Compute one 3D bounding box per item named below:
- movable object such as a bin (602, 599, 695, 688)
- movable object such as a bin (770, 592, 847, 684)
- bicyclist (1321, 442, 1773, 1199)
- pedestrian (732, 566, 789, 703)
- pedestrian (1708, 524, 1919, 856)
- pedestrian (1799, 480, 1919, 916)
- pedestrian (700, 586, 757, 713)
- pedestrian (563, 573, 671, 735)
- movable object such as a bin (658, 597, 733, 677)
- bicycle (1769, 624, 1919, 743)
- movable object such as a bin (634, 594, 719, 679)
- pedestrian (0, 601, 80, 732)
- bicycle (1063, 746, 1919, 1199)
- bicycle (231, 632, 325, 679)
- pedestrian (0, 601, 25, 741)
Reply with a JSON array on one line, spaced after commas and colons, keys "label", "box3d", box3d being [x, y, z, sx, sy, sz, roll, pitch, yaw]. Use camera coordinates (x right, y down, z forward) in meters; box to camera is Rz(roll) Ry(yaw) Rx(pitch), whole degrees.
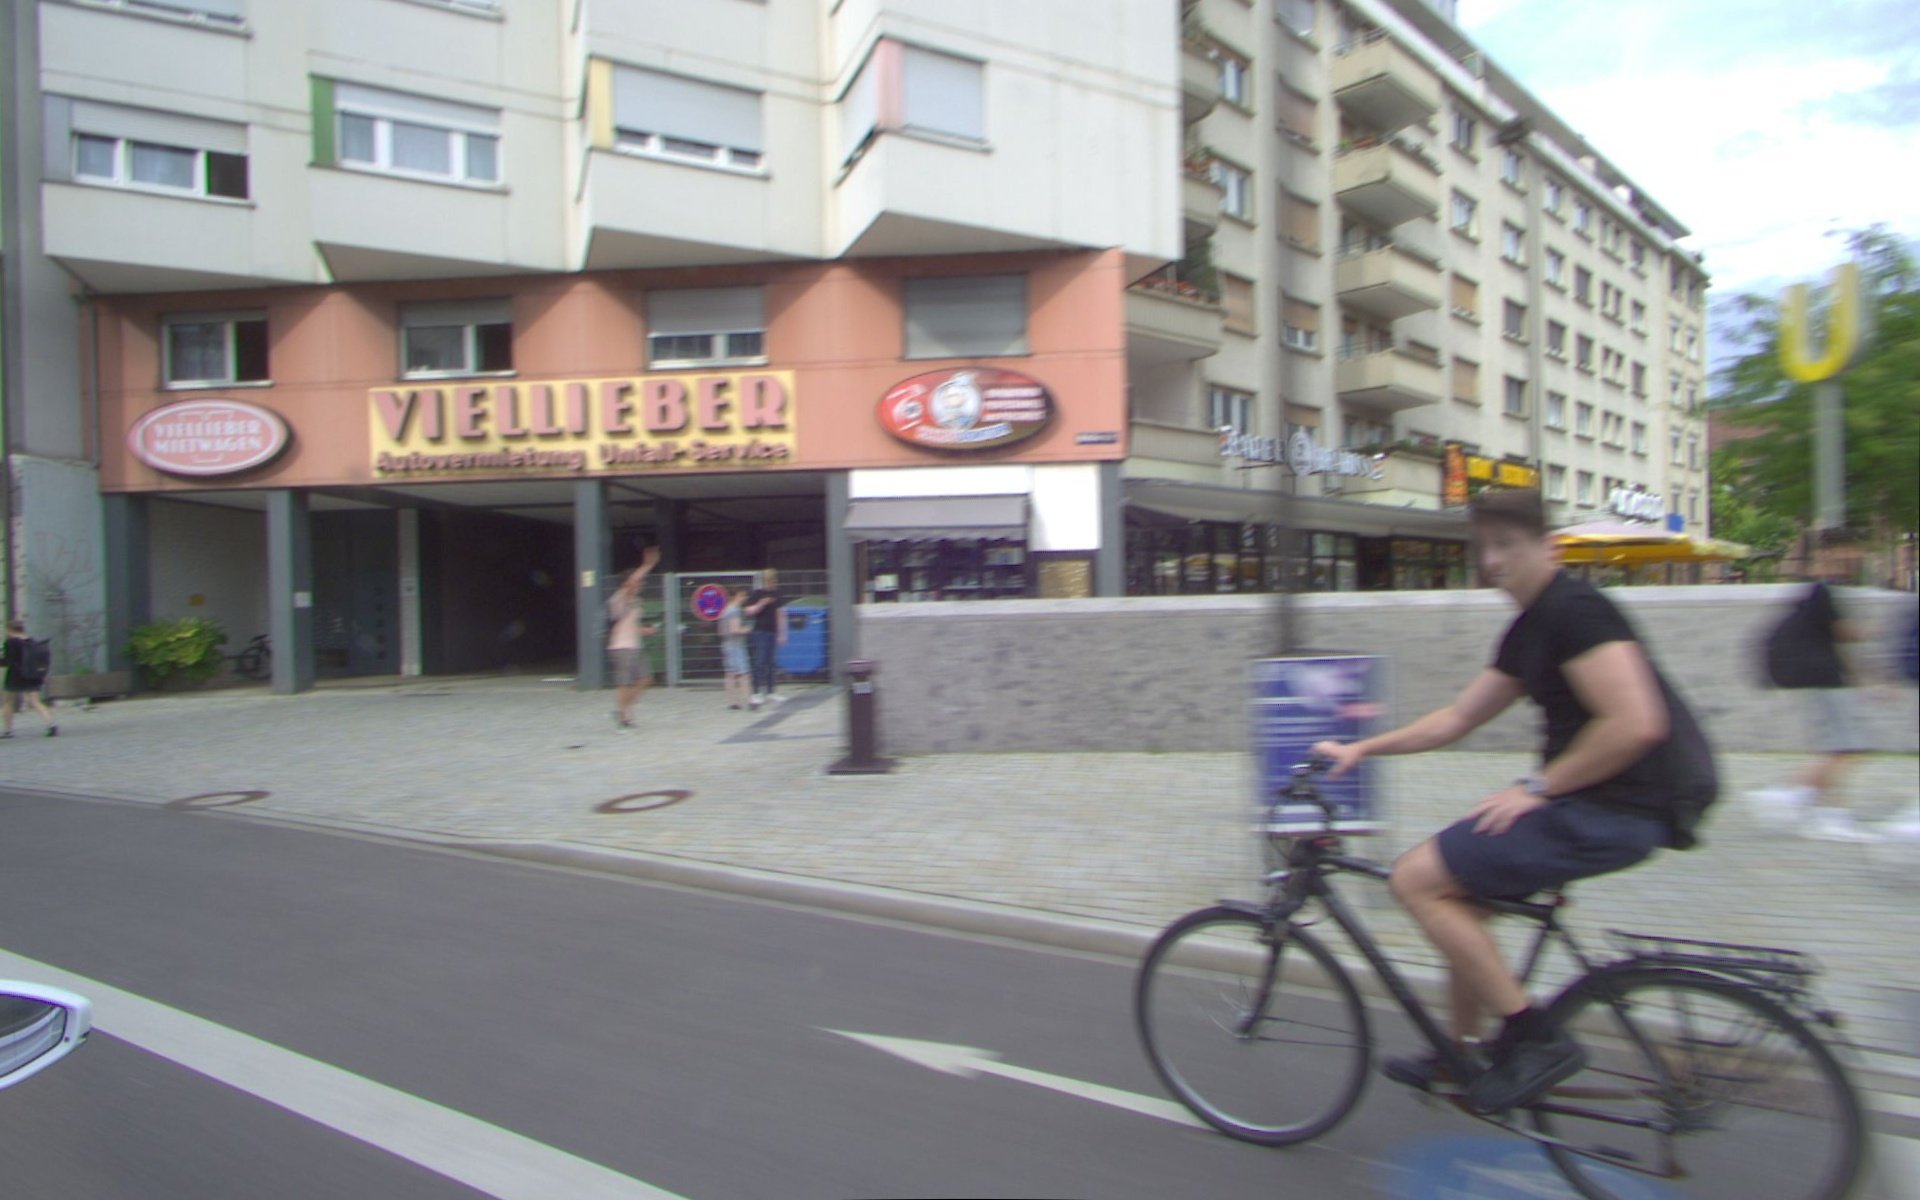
[{"label": "movable object such as a bin", "box3d": [-5.441, 0.750, 17.589, 1.200, 1.479, 1.149, -1, -1, 4]}, {"label": "movable object such as a bin", "box3d": [-2.626, 0.651, 17.468, 1.067, 1.535, 1.147, -1, -1, 4]}, {"label": "bicyclist", "box3d": [1.420, 0.562, 2.491, 0.851, 1.731, 0.557, -2, -1, 33]}, {"label": "pedestrian", "box3d": [-2.875, 0.486, 14.489, 0.578, 1.929, 0.674, -1, 2, 6]}, {"label": "pedestrian", "box3d": [5.074, 0.492, 5.865, 0.869, 1.824, 0.676, -1, 2, -3]}, {"label": "pedestrian", "box3d": [4.893, 0.438, 4.872, 0.994, 1.998, 0.721, -1, 2, 0]}, {"label": "pedestrian", "box3d": [-3.164, 0.663, 13.714, 0.578, 1.696, 0.473, -1, 2, 6]}, {"label": "pedestrian", "box3d": [-4.117, 0.632, 12.055, 0.953, 1.878, 0.658, -2, 2, 8]}, {"label": "movable object such as a bin", "box3d": [-5.258, 0.725, 19.966, 1.145, 1.535, 1.005, -1, -1, 4]}, {"label": "bicycle", "box3d": [9.330, 0.805, 10.190, 0.534, 1.027, 2.447, -2, 0, 9]}, {"label": "movable object such as a bin", "box3d": [-5.301, 0.679, 18.825, 1.174, 1.535, 1.198, -1, -1, 4]}, {"label": "pedestrian", "box3d": [-12.629, 0.889, 13.481, 0.925, 1.692, 0.606, -2, 3, 3]}, {"label": "bicycle", "box3d": [1.271, 1.012, 2.680, 1.990, 1.136, 0.405, -3, -2, 33]}, {"label": "bicycle", "box3d": [-13.830, 1.122, 20.318, 1.645, 0.908, 0.454, -1, 0, 5]}, {"label": "pedestrian", "box3d": [-12.702, 0.923, 12.739, 0.843, 1.775, 0.752, -1, 3, 14]}]
